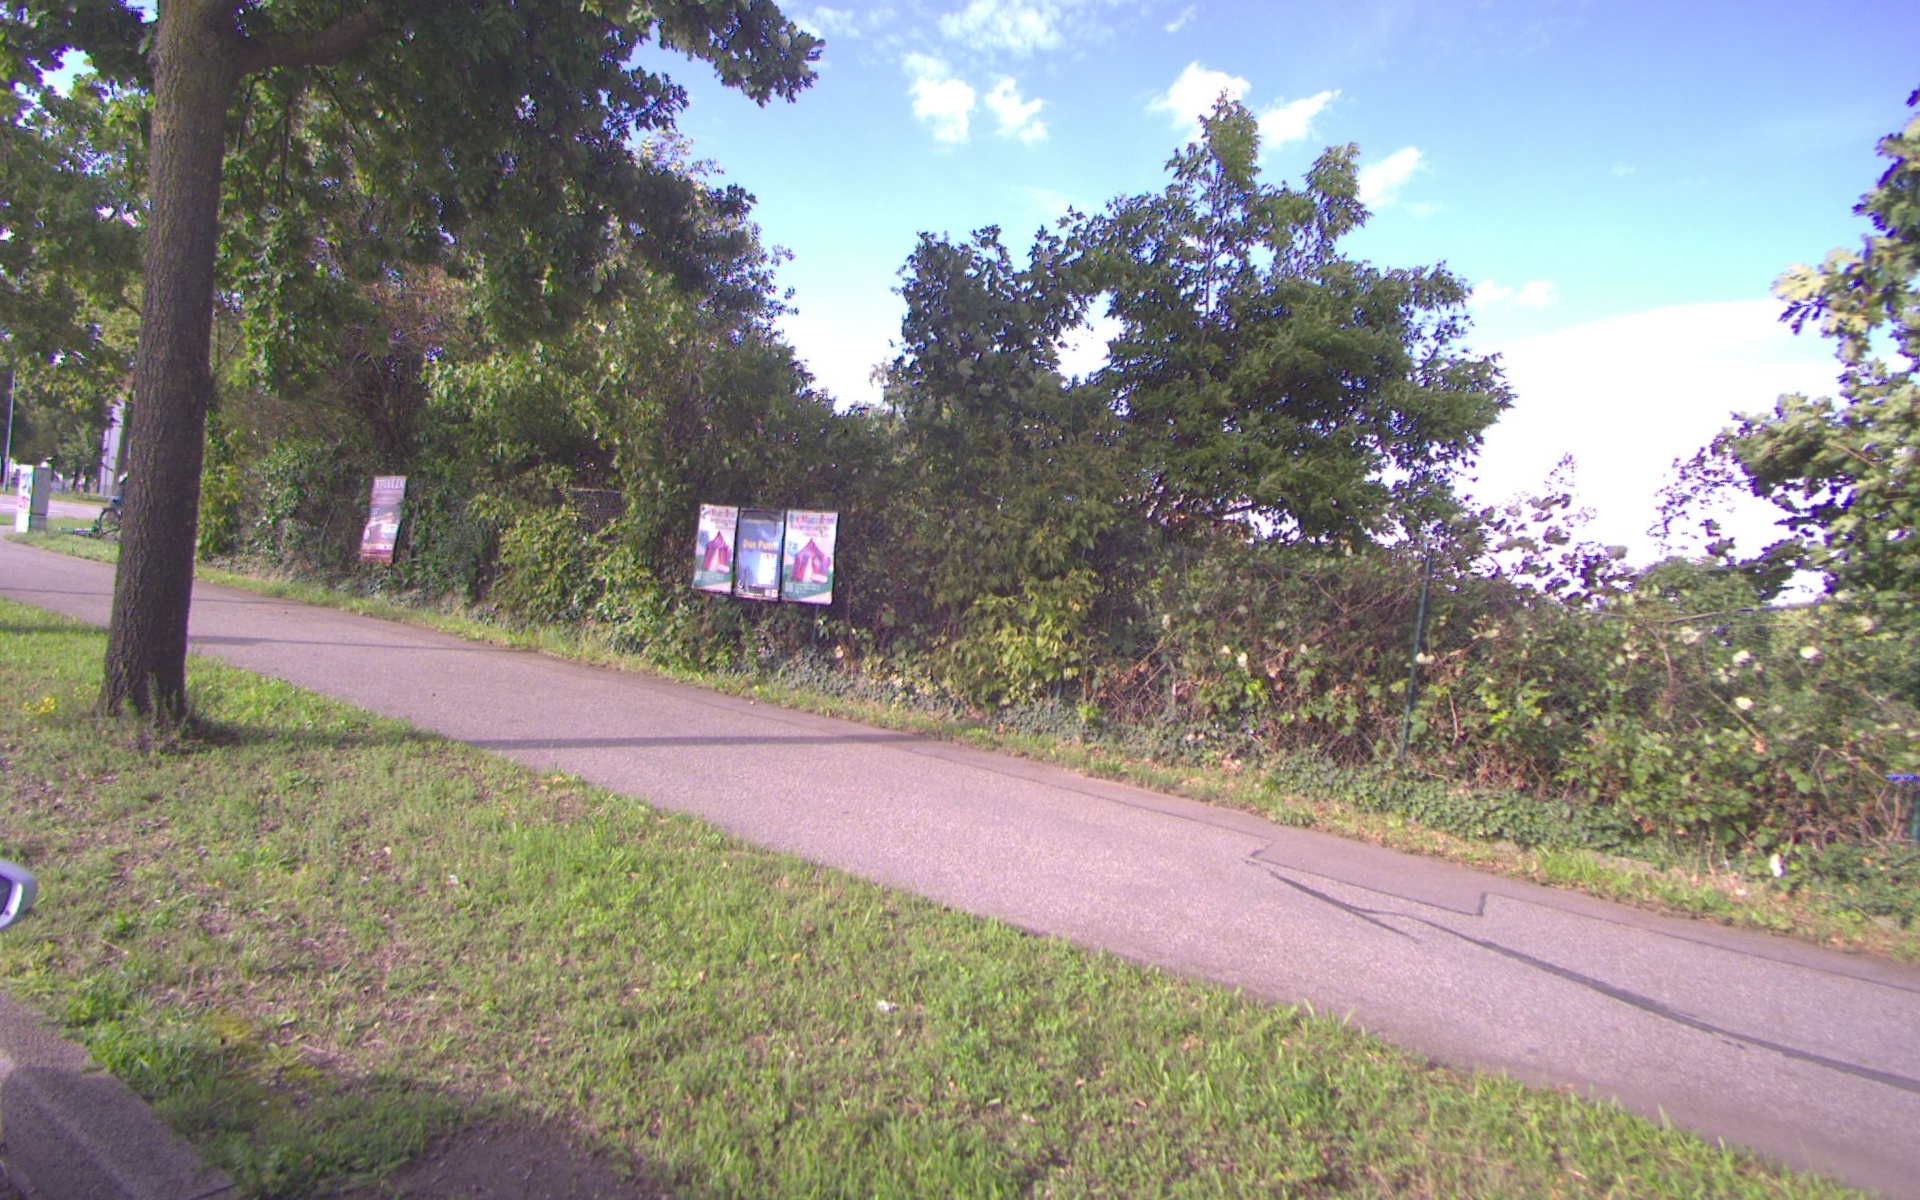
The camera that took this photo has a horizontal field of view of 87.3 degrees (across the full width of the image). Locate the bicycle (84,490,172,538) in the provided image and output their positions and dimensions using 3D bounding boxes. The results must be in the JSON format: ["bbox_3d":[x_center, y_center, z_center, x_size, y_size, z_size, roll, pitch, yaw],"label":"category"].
[{"bbox_3d":[-22.579,-2.321,27.344,0.697,1.063,1.776,7,1,8],"label":"bicycle"}]

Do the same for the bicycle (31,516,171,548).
[{"bbox_3d":[-19.907,-1.571,23.332,2.529,0.390,1.411,7,1,21],"label":"bicycle"}]

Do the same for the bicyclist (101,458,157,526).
[{"bbox_3d":[-22.519,-2.914,27.274,0.672,1.669,0.832,7,2,8],"label":"bicyclist"}]
